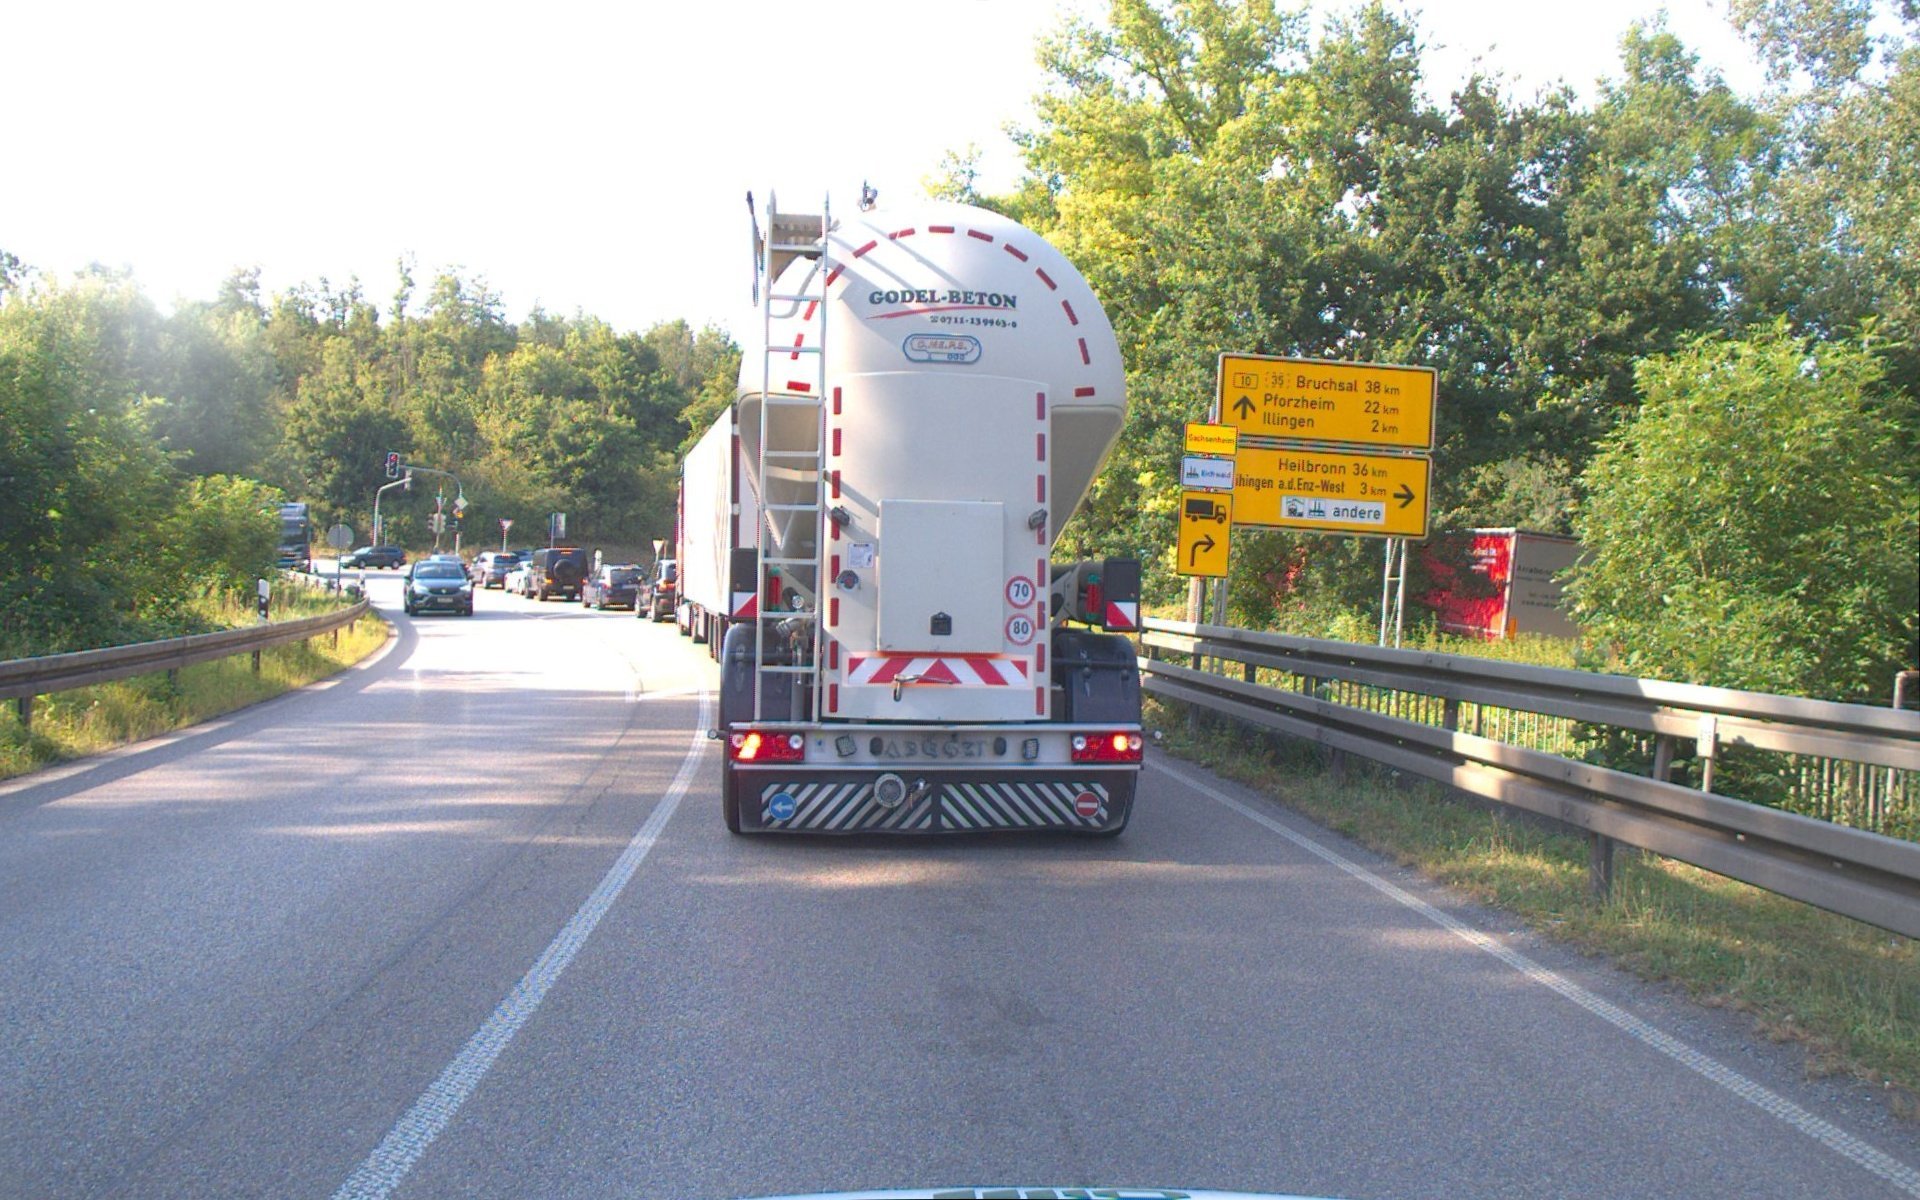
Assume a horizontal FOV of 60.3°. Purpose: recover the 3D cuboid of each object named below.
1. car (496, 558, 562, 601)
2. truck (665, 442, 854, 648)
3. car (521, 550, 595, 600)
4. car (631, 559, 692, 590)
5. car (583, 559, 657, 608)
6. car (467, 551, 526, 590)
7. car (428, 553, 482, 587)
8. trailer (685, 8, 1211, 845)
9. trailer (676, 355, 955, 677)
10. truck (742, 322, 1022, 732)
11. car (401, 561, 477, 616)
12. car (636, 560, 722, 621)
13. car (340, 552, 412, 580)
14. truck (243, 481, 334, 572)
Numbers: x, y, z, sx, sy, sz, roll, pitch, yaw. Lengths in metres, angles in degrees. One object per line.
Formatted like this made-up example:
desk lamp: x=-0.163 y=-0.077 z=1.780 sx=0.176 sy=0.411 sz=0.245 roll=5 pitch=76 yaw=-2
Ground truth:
car: x=-18.652 y=-0.913 z=71.416 sx=1.846 sy=1.712 sz=3.964 roll=3 pitch=0 yaw=-28
truck: x=-4.718 y=-1.164 z=37.677 sx=3.392 sy=4.157 sz=6.466 roll=2 pitch=0 yaw=-14
car: x=-15.658 y=-0.994 z=64.308 sx=1.933 sy=1.883 sz=3.965 roll=-1 pitch=2 yaw=-27
car: x=-22.099 y=-1.874 z=122.372 sx=3.964 sy=2.048 sz=1.971 roll=3 pitch=0 yaw=-41
car: x=-11.499 y=-0.581 z=55.732 sx=1.841 sy=1.592 sz=3.975 roll=0 pitch=1 yaw=-21
car: x=-21.641 y=-1.390 z=77.124 sx=1.846 sy=1.622 sz=3.964 roll=3 pitch=0 yaw=-28
car: x=-25.808 y=-1.533 z=84.477 sx=1.847 sy=1.592 sz=3.962 roll=3 pitch=0 yaw=-29
trailer: x=-0.476 y=-0.963 z=13.902 sx=2.830 sy=4.532 sz=9.595 roll=1 pitch=0 yaw=-5
trailer: x=-3.184 y=-1.272 z=30.702 sx=3.483 sy=4.591 sz=12.945 roll=2 pitch=0 yaw=-12
truck: x=-1.166 y=-0.750 z=19.769 sx=2.771 sy=4.105 sz=5.884 roll=1 pitch=0 yaw=-8
car: x=-15.734 y=-0.381 z=49.816 sx=1.842 sy=1.592 sz=3.972 roll=0 pitch=1 yaw=-23
car: x=-8.093 y=-0.316 z=47.374 sx=1.839 sy=1.656 sz=3.978 roll=0 pitch=1 yaw=-19
car: x=-37.276 y=-2.171 z=105.617 sx=1.837 sy=1.583 sz=3.983 roll=3 pitch=0 yaw=37
truck: x=-36.869 y=-3.903 z=90.635 sx=2.982 sy=4.665 sz=10.132 roll=1 pitch=0 yaw=-31
